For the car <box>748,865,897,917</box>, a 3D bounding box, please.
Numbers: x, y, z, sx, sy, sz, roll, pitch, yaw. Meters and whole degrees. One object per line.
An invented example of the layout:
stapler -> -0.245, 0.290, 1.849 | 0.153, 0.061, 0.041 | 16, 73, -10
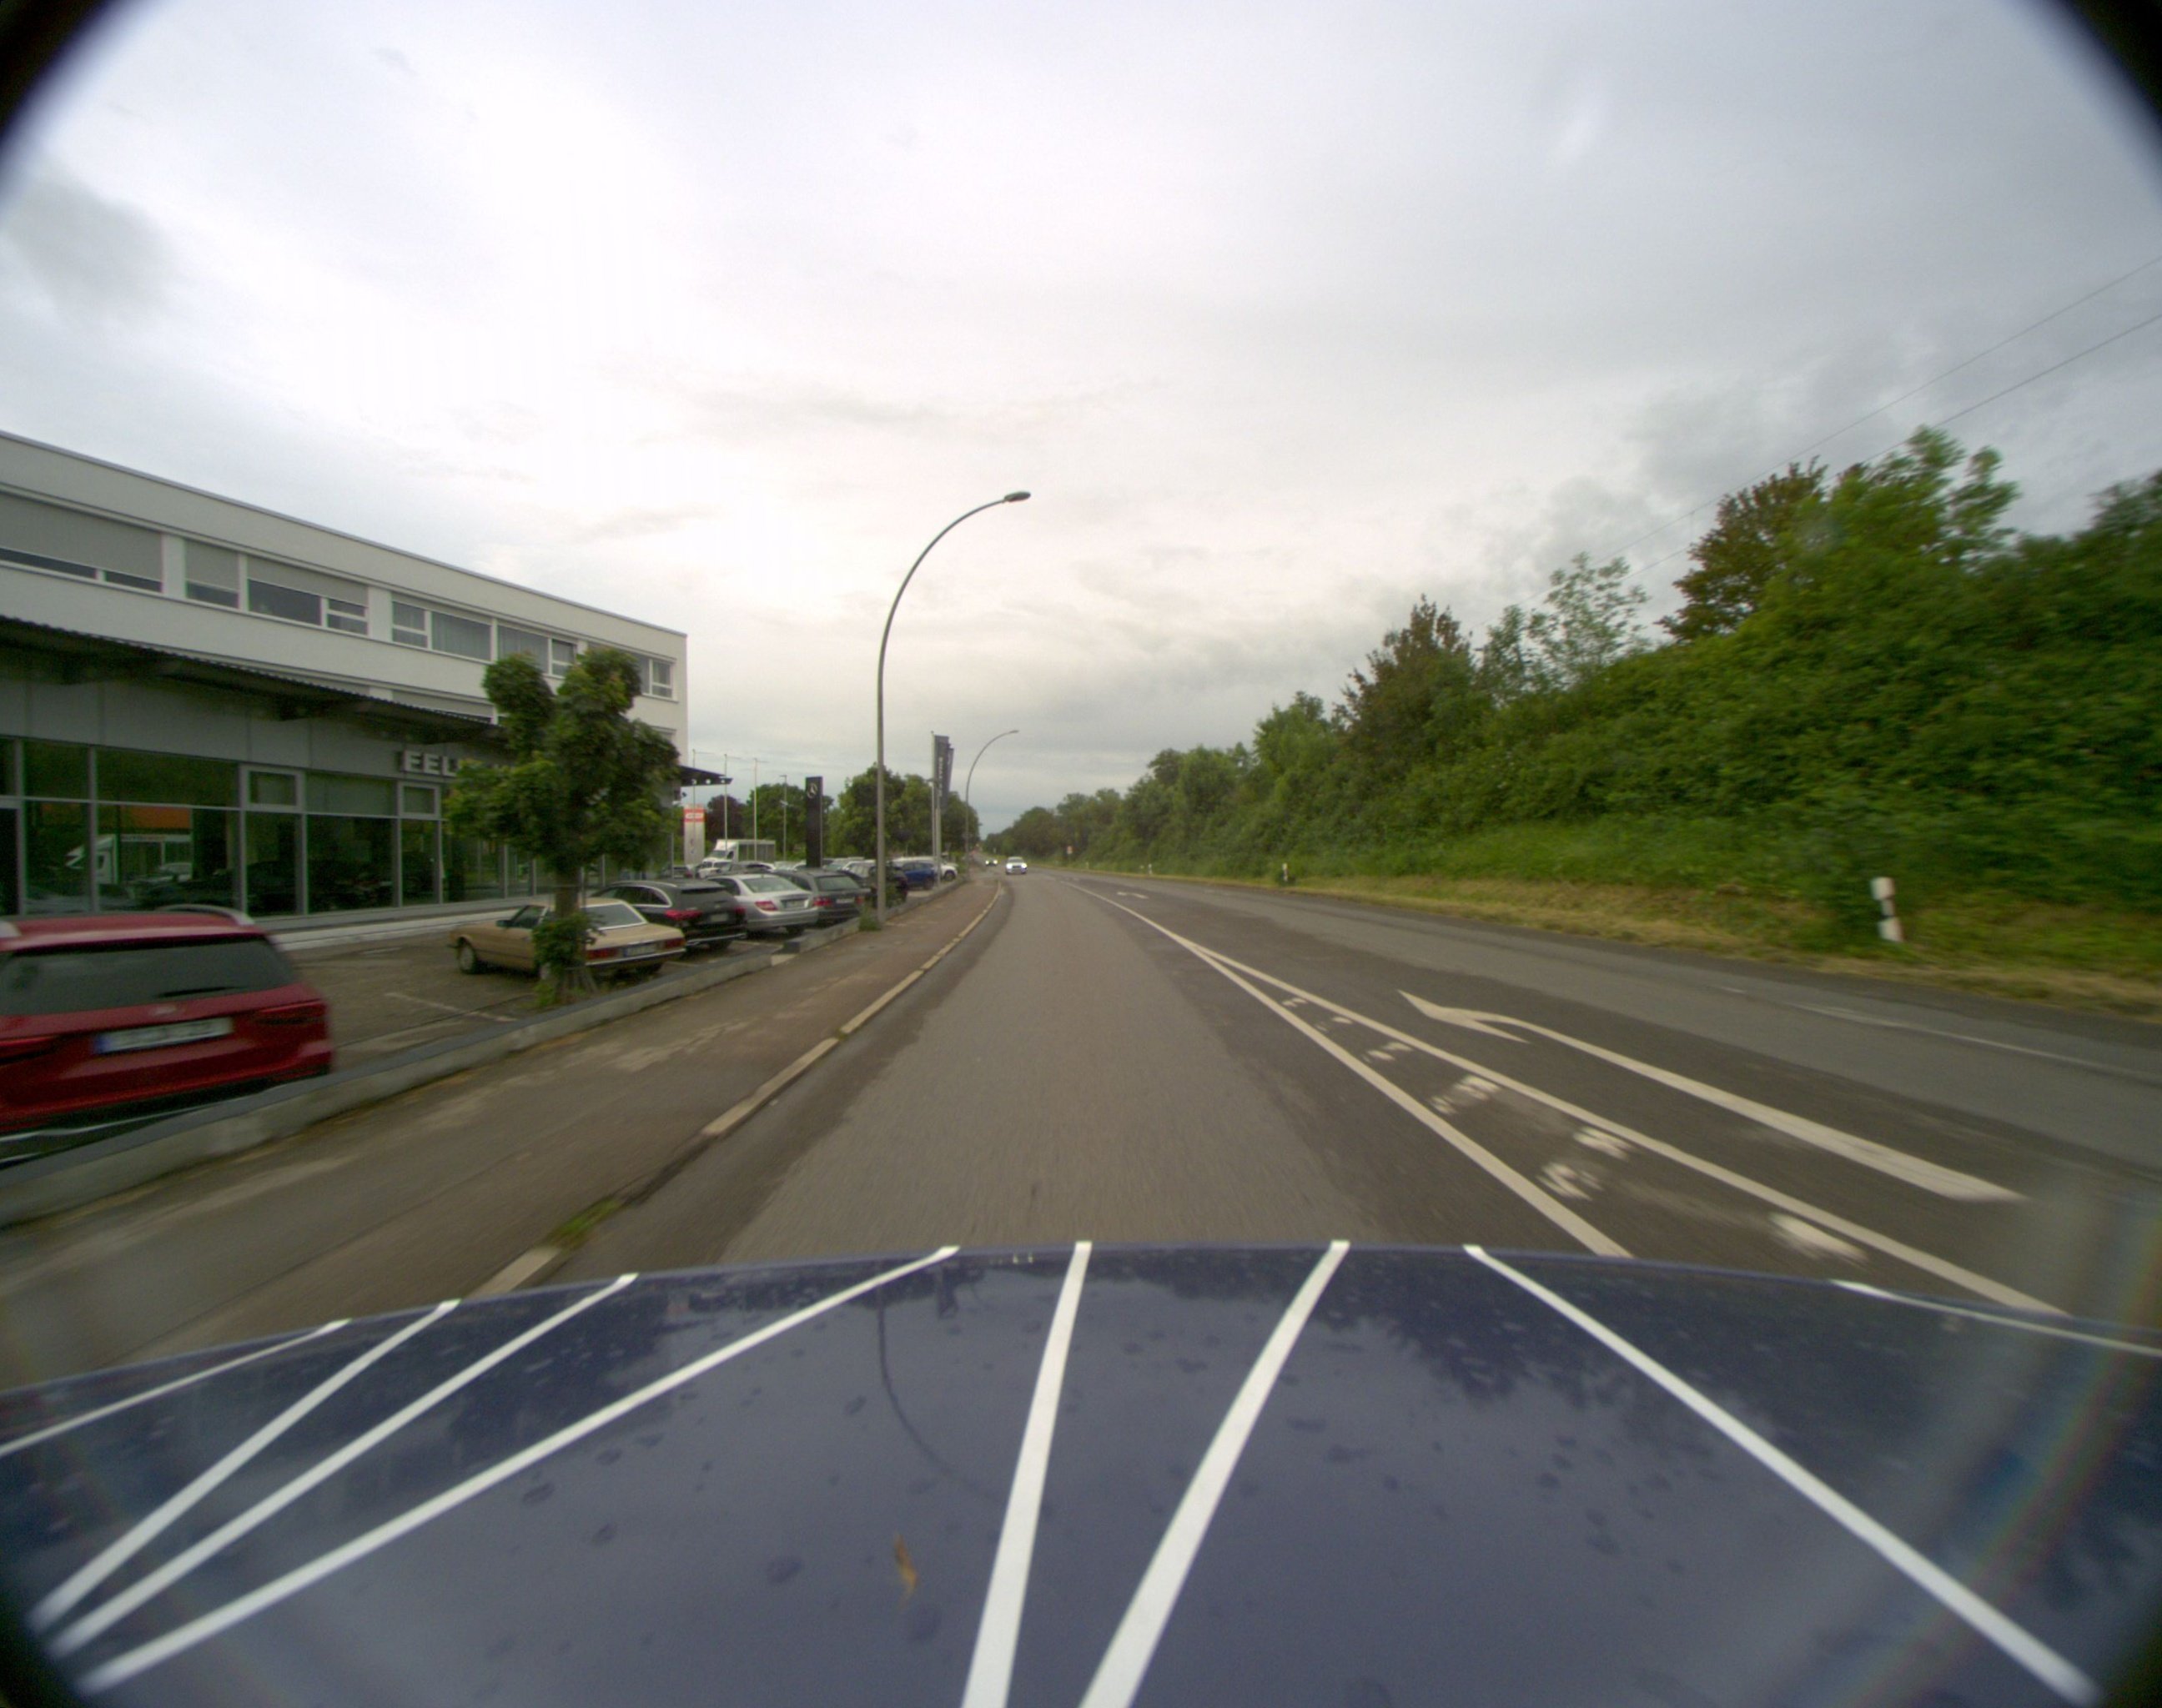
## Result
car -> -8.212, 1.146, 24.091 | 4.431, 1.470, 1.938 | -1, 0, 29

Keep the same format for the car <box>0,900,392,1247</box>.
car -> -7.514, 1.302, 5.553 | 4.686, 1.653, 2.003 | -3, 2, 27

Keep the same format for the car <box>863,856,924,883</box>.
car -> -11.781, 0.927, 47.940 | 1.659, 1.590, 3.566 | 1, 1, 31

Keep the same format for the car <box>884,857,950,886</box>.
car -> -9.904, 1.016, 46.099 | 1.727, 1.590, 3.822 | 1, 1, 31

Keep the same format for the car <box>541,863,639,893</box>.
car -> -24.440, 1.166, 37.829 | 4.400, 1.433, 2.004 | -1, -1, 25

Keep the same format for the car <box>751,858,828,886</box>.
car -> -17.397, 1.055, 45.538 | 1.899, 1.536, 4.007 | -1, 0, 28

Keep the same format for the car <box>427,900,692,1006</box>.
car -> -8.683, 1.525, 12.620 | 4.225, 1.294, 1.737 | -1, 3, 27

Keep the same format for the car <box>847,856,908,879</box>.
car -> -14.705, 0.957, 55.200 | 1.962, 1.490, 4.371 | -1, 1, 22

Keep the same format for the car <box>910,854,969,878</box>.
car -> -11.149, 0.945, 59.919 | 1.961, 1.661, 4.373 | -1, 1, 36

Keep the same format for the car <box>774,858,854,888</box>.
car -> -15.260, 1.073, 43.600 | 1.898, 1.536, 4.007 | -1, 0, 29

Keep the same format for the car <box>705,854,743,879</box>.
car -> -23.415, 0.842, 49.808 | 1.775, 1.542, 3.442 | -1, -1, -33

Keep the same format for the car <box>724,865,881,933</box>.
car -> -7.568, 1.196, 20.569 | 3.989, 1.547, 1.902 | -2, 2, 34

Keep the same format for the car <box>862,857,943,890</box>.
car -> -9.783, 1.043, 41.883 | 1.838, 1.623, 4.375 | 1, 1, 31

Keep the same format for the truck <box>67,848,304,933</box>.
truck -> -42.271, 1.603, 36.214 | 2.566, 3.395, 6.658 | -3, 2, 24

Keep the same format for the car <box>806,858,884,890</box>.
car -> -12.956, 1.040, 41.964 | 1.727, 1.590, 4.187 | 1, 1, 25

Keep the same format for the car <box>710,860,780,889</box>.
car -> -18.374, 1.097, 41.549 | 3.552, 1.469, 1.784 | 0, 0, 32

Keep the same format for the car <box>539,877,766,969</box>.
car -> -8.584, 1.339, 15.242 | 3.960, 1.483, 1.978 | -3, 2, 26

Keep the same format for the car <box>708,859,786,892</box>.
car -> -20.269, 1.293, 46.288 | 1.768, 1.632, 3.992 | -2, 3, 29

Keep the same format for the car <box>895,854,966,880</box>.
car -> -10.298, 0.878, 52.217 | 4.436, 1.643, 1.922 | -1, 1, -41

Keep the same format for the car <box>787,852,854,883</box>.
car -> -17.355, 0.889, 50.702 | 1.675, 1.711, 4.005 | -2, 3, 29

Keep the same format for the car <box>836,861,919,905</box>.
car -> -8.160, 1.093, 30.221 | 1.845, 1.598, 4.538 | 0, -1, -33

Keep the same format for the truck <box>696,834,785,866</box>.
truck -> -32.235, -0.415, 72.387 | 2.784, 2.608, 8.482 | -3, 1, 16

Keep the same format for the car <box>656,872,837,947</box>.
car -> -7.983, 1.222, 18.078 | 4.163, 1.459, 1.840 | 0, 2, 31
